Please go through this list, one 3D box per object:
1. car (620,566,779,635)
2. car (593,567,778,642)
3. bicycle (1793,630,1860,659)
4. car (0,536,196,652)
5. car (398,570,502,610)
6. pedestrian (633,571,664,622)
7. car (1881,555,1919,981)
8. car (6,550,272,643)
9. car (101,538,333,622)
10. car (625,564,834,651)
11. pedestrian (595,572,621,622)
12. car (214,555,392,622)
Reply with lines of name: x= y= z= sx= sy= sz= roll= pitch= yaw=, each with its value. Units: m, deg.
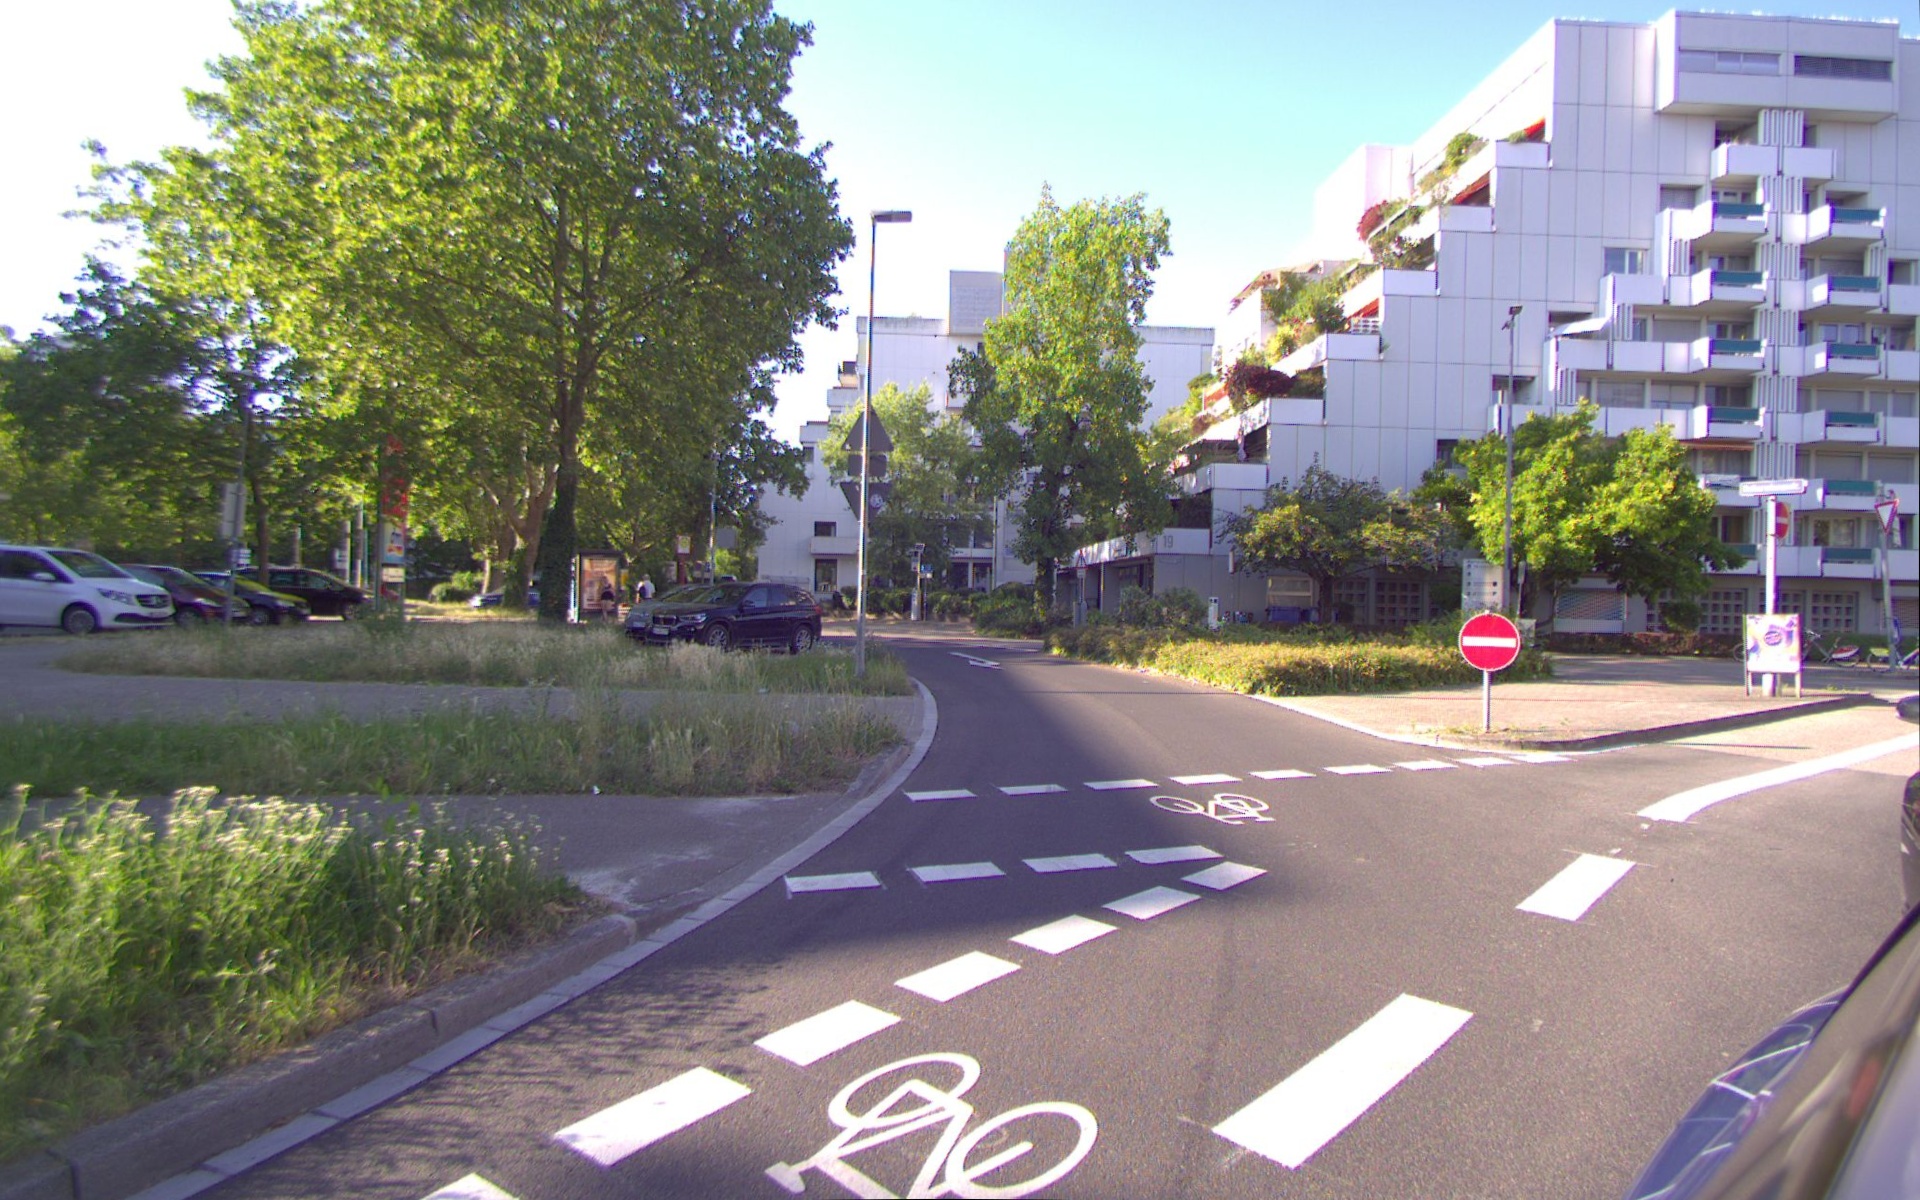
car: x=-7.295 y=0.052 z=28.587 sx=1.865 sy=1.659 sz=3.941 roll=4 pitch=0 yaw=39
car: x=-6.804 y=0.153 z=25.498 sx=1.816 sy=1.607 sz=4.316 roll=4 pitch=0 yaw=33
bicycle: x=27.366 y=1.393 z=31.967 sx=0.456 sy=0.794 sz=1.572 roll=1 pitch=1 yaw=-44
car: x=-19.398 y=-0.204 z=21.230 sx=4.951 sy=2.123 sz=2.003 roll=4 pitch=0 yaw=-5
car: x=-23.972 y=-0.476 z=47.618 sx=4.040 sy=1.821 sz=1.997 roll=-1 pitch=0 yaw=-41
pedestrian: x=-10.584 y=-0.132 z=34.417 sx=0.714 sy=1.683 sz=0.743 roll=1 pitch=0 yaw=8
car: x=5.742 y=0.657 z=4.572 sx=4.444 sy=1.565 sz=1.842 roll=2 pitch=-2 yaw=-41
car: x=-19.613 y=-0.092 z=24.374 sx=4.541 sy=1.797 sz=2.003 roll=5 pitch=0 yaw=-5
car: x=-19.680 y=-0.525 z=26.996 sx=4.541 sy=1.797 sz=2.003 roll=5 pitch=0 yaw=-5
car: x=-5.071 y=0.220 z=22.849 sx=1.925 sy=1.680 sz=4.423 roll=4 pitch=0 yaw=33
pedestrian: x=-12.031 y=-0.096 z=34.602 sx=0.619 sy=1.683 sz=0.744 roll=1 pitch=0 yaw=-37
car: x=-21.385 y=-0.362 z=33.204 sx=4.537 sy=1.797 sz=2.005 roll=4 pitch=0 yaw=-25
